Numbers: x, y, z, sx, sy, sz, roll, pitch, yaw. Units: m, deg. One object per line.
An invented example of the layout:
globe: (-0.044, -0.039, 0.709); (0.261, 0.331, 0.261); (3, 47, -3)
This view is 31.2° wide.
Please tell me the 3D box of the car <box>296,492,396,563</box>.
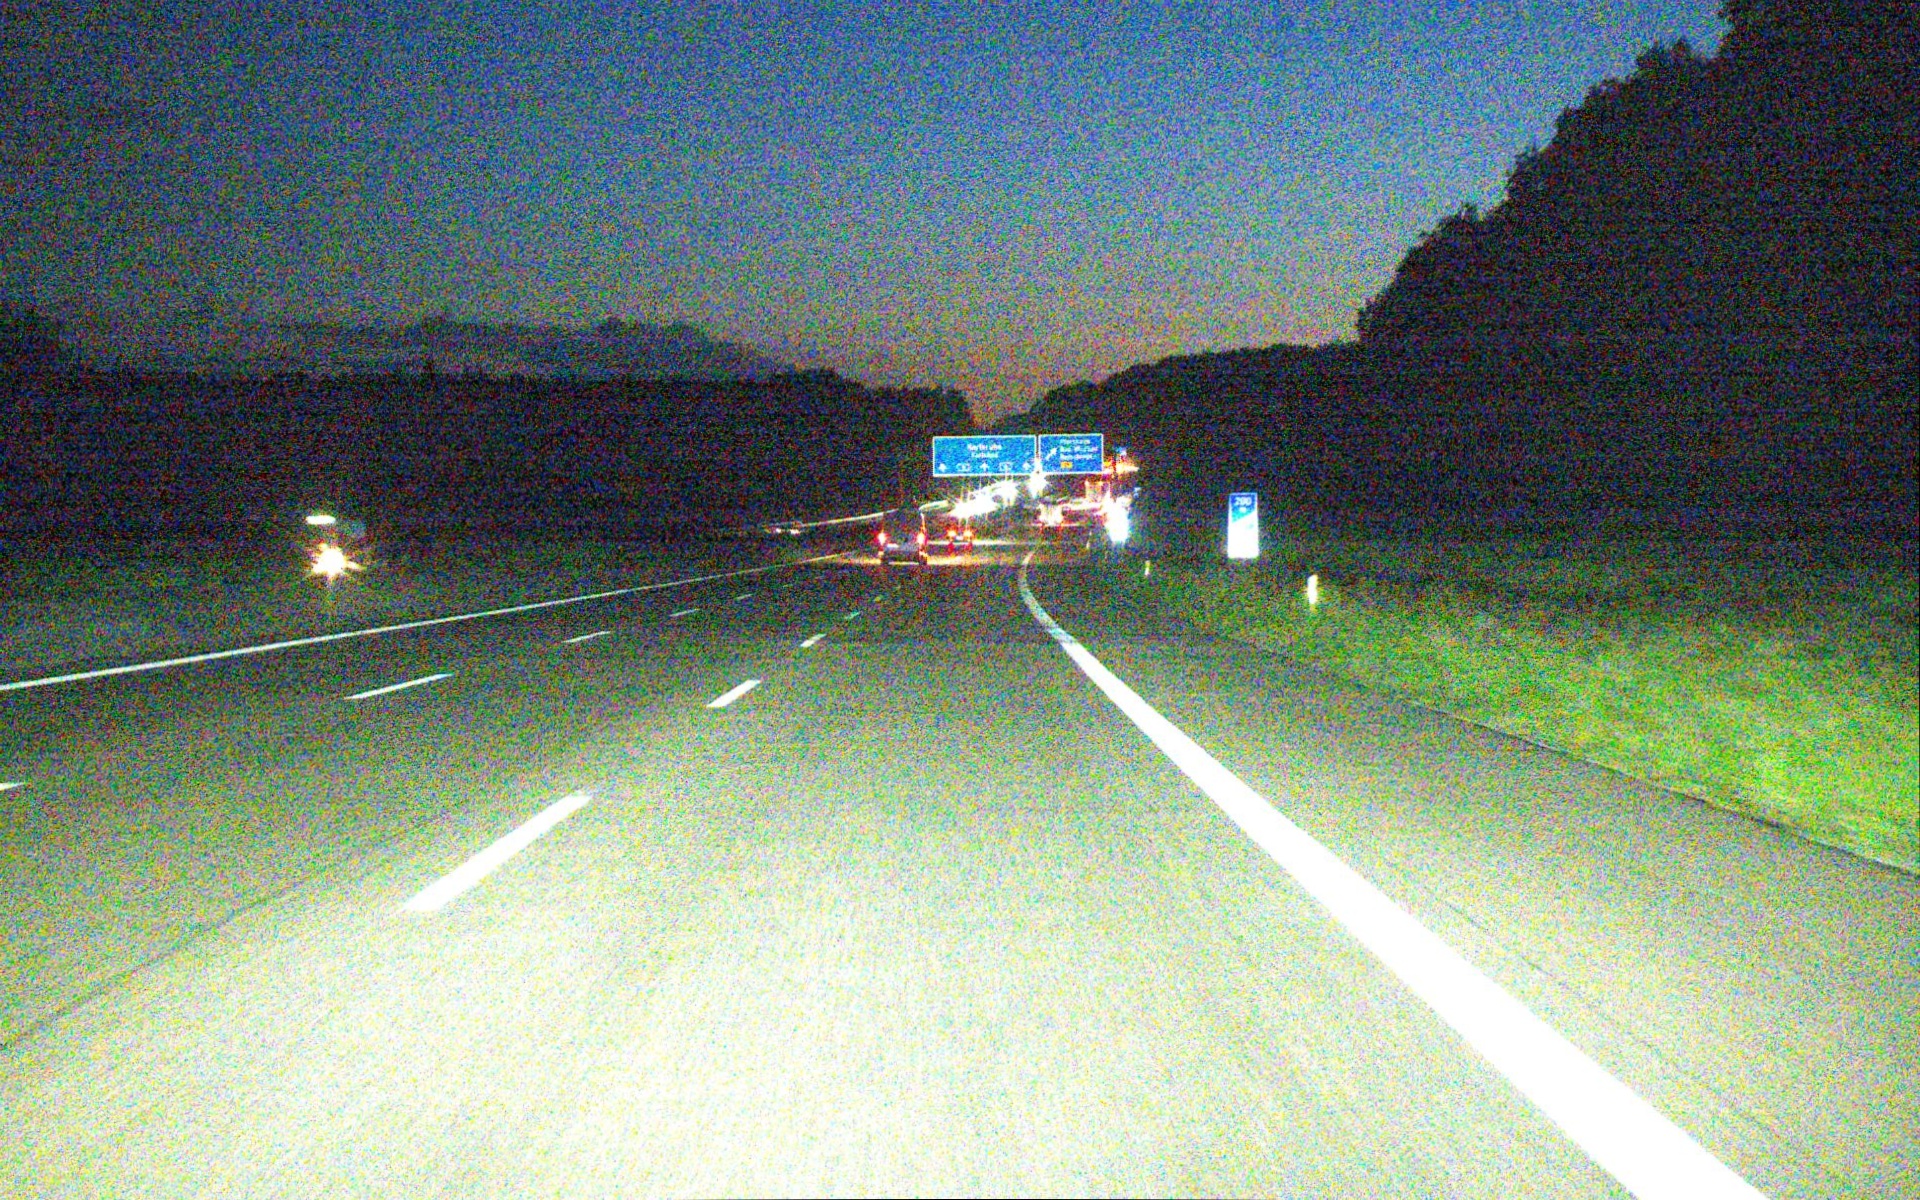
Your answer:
car: (-22.285, -2.611, 124.979); (2.391, 2.444, 6.671); (1, 0, 0)

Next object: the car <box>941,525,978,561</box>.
car: (-0.022, -4.358, 262.985); (2.786, 2.724, 6.299); (0, 1, 0)

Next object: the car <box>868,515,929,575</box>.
car: (-2.900, -2.572, 161.743); (2.786, 2.724, 6.299); (0, 1, -1)
